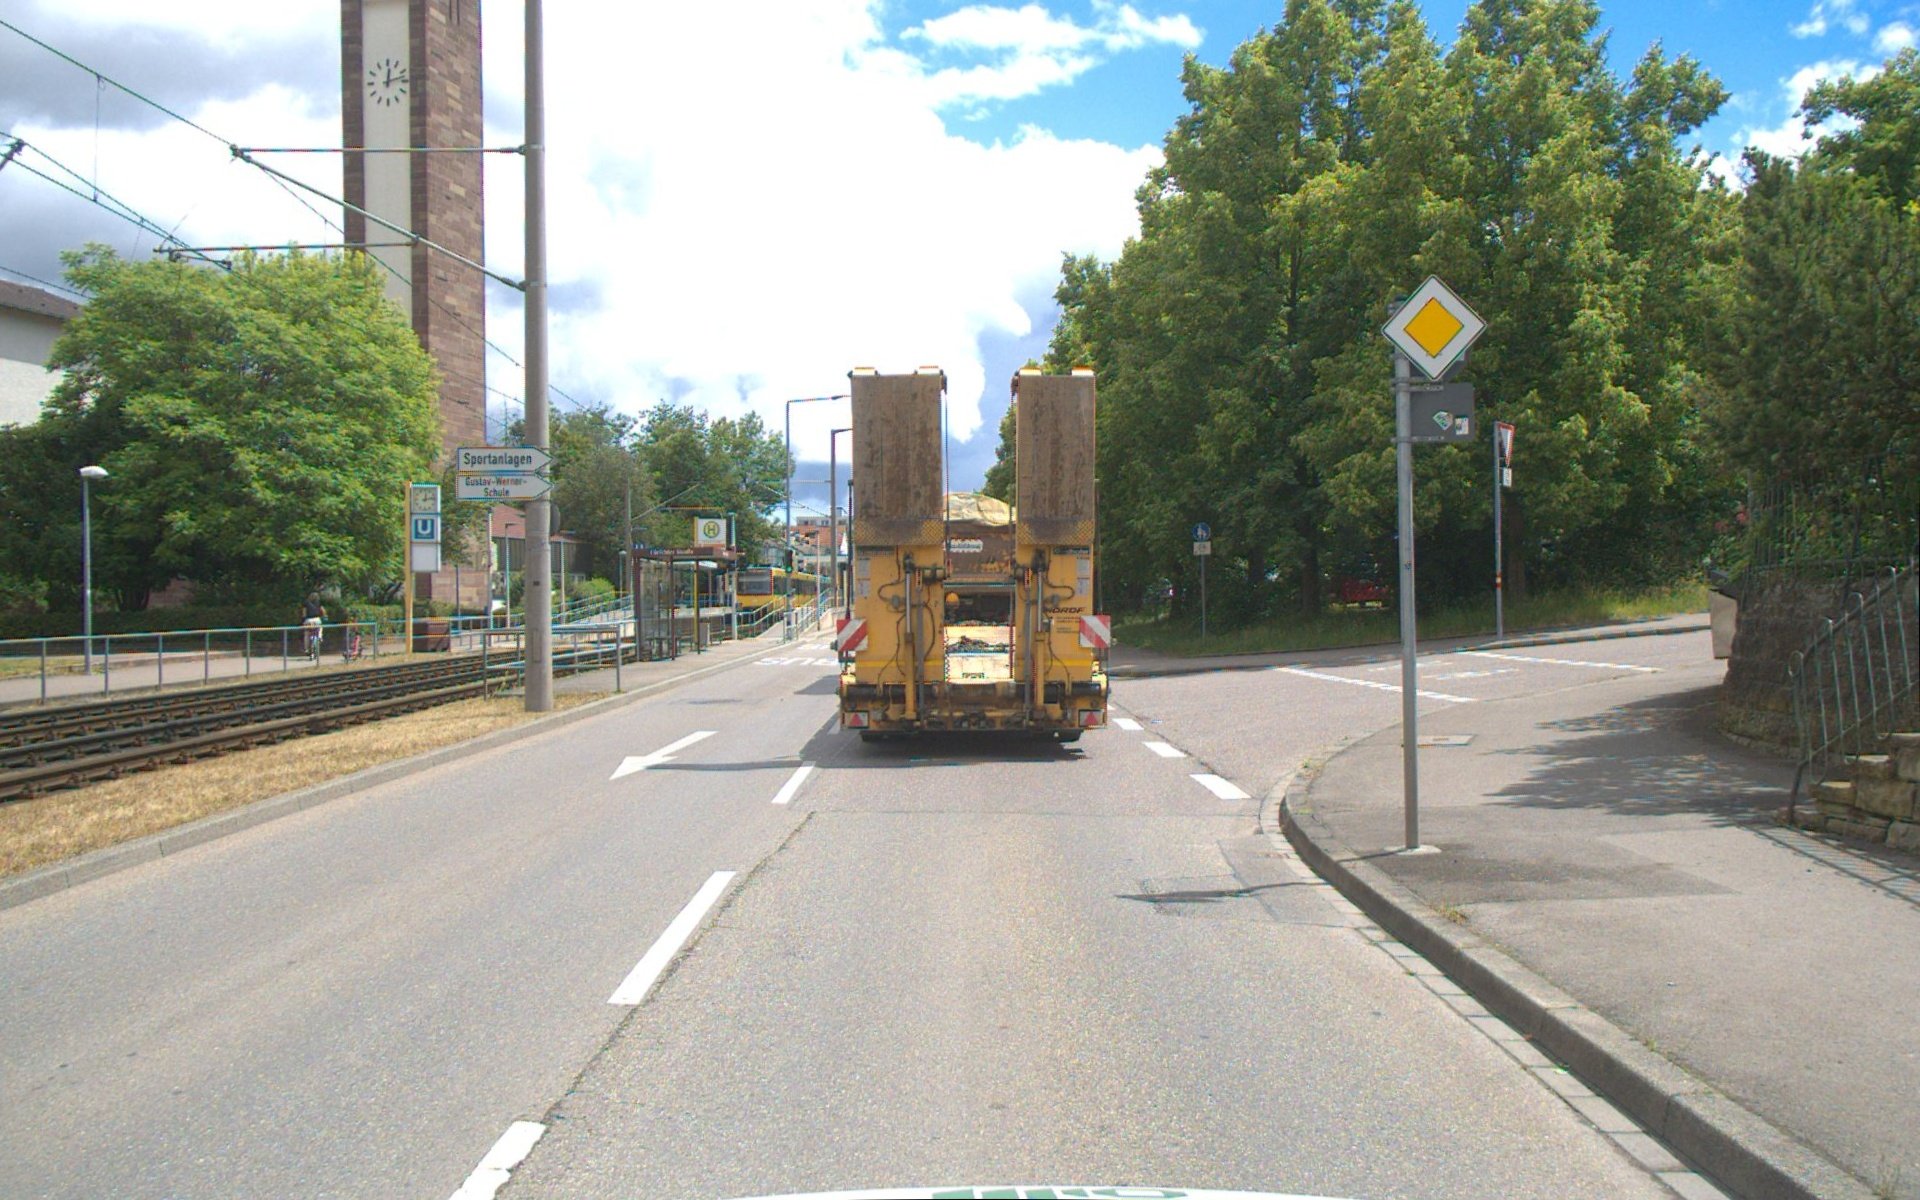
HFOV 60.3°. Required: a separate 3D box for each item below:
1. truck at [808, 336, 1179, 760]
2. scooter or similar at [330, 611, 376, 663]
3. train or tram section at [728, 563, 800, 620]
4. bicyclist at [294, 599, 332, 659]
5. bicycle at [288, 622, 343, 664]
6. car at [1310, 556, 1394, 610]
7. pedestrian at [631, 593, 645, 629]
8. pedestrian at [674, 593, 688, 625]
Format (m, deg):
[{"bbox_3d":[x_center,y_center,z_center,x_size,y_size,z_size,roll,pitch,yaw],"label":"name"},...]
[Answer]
[{"bbox_3d":[-0.076,-0.465,21.775,3.335,3.798,13.729,0,0,-3],"label":"truck"},{"bbox_3d":[-15.204,0.915,41.468,0.636,1.258,1.401,1,1,0],"label":"scooter or similar"},{"bbox_3d":[-13.343,-0.519,114.351,3.045,3.525,18.821,1,0,-1],"label":"train or tram section"},{"bbox_3d":[-16.064,0.721,41.088,0.620,1.454,0.790,1,0,-1],"label":"bicyclist"},{"bbox_3d":[-16.083,1.058,41.285,0.624,1.011,1.928,1,0,-1],"label":"bicycle"},{"bbox_3d":[12.193,-0.516,51.688,1.627,1.526,3.662,-3,0,-1],"label":"car"},{"bbox_3d":[-16.300,0.539,83.783,0.572,1.809,0.576,1,-1,-1],"label":"pedestrian"},{"bbox_3d":[-15.314,0.508,90.658,0.626,1.737,0.645,1,0,-1],"label":"pedestrian"}]
